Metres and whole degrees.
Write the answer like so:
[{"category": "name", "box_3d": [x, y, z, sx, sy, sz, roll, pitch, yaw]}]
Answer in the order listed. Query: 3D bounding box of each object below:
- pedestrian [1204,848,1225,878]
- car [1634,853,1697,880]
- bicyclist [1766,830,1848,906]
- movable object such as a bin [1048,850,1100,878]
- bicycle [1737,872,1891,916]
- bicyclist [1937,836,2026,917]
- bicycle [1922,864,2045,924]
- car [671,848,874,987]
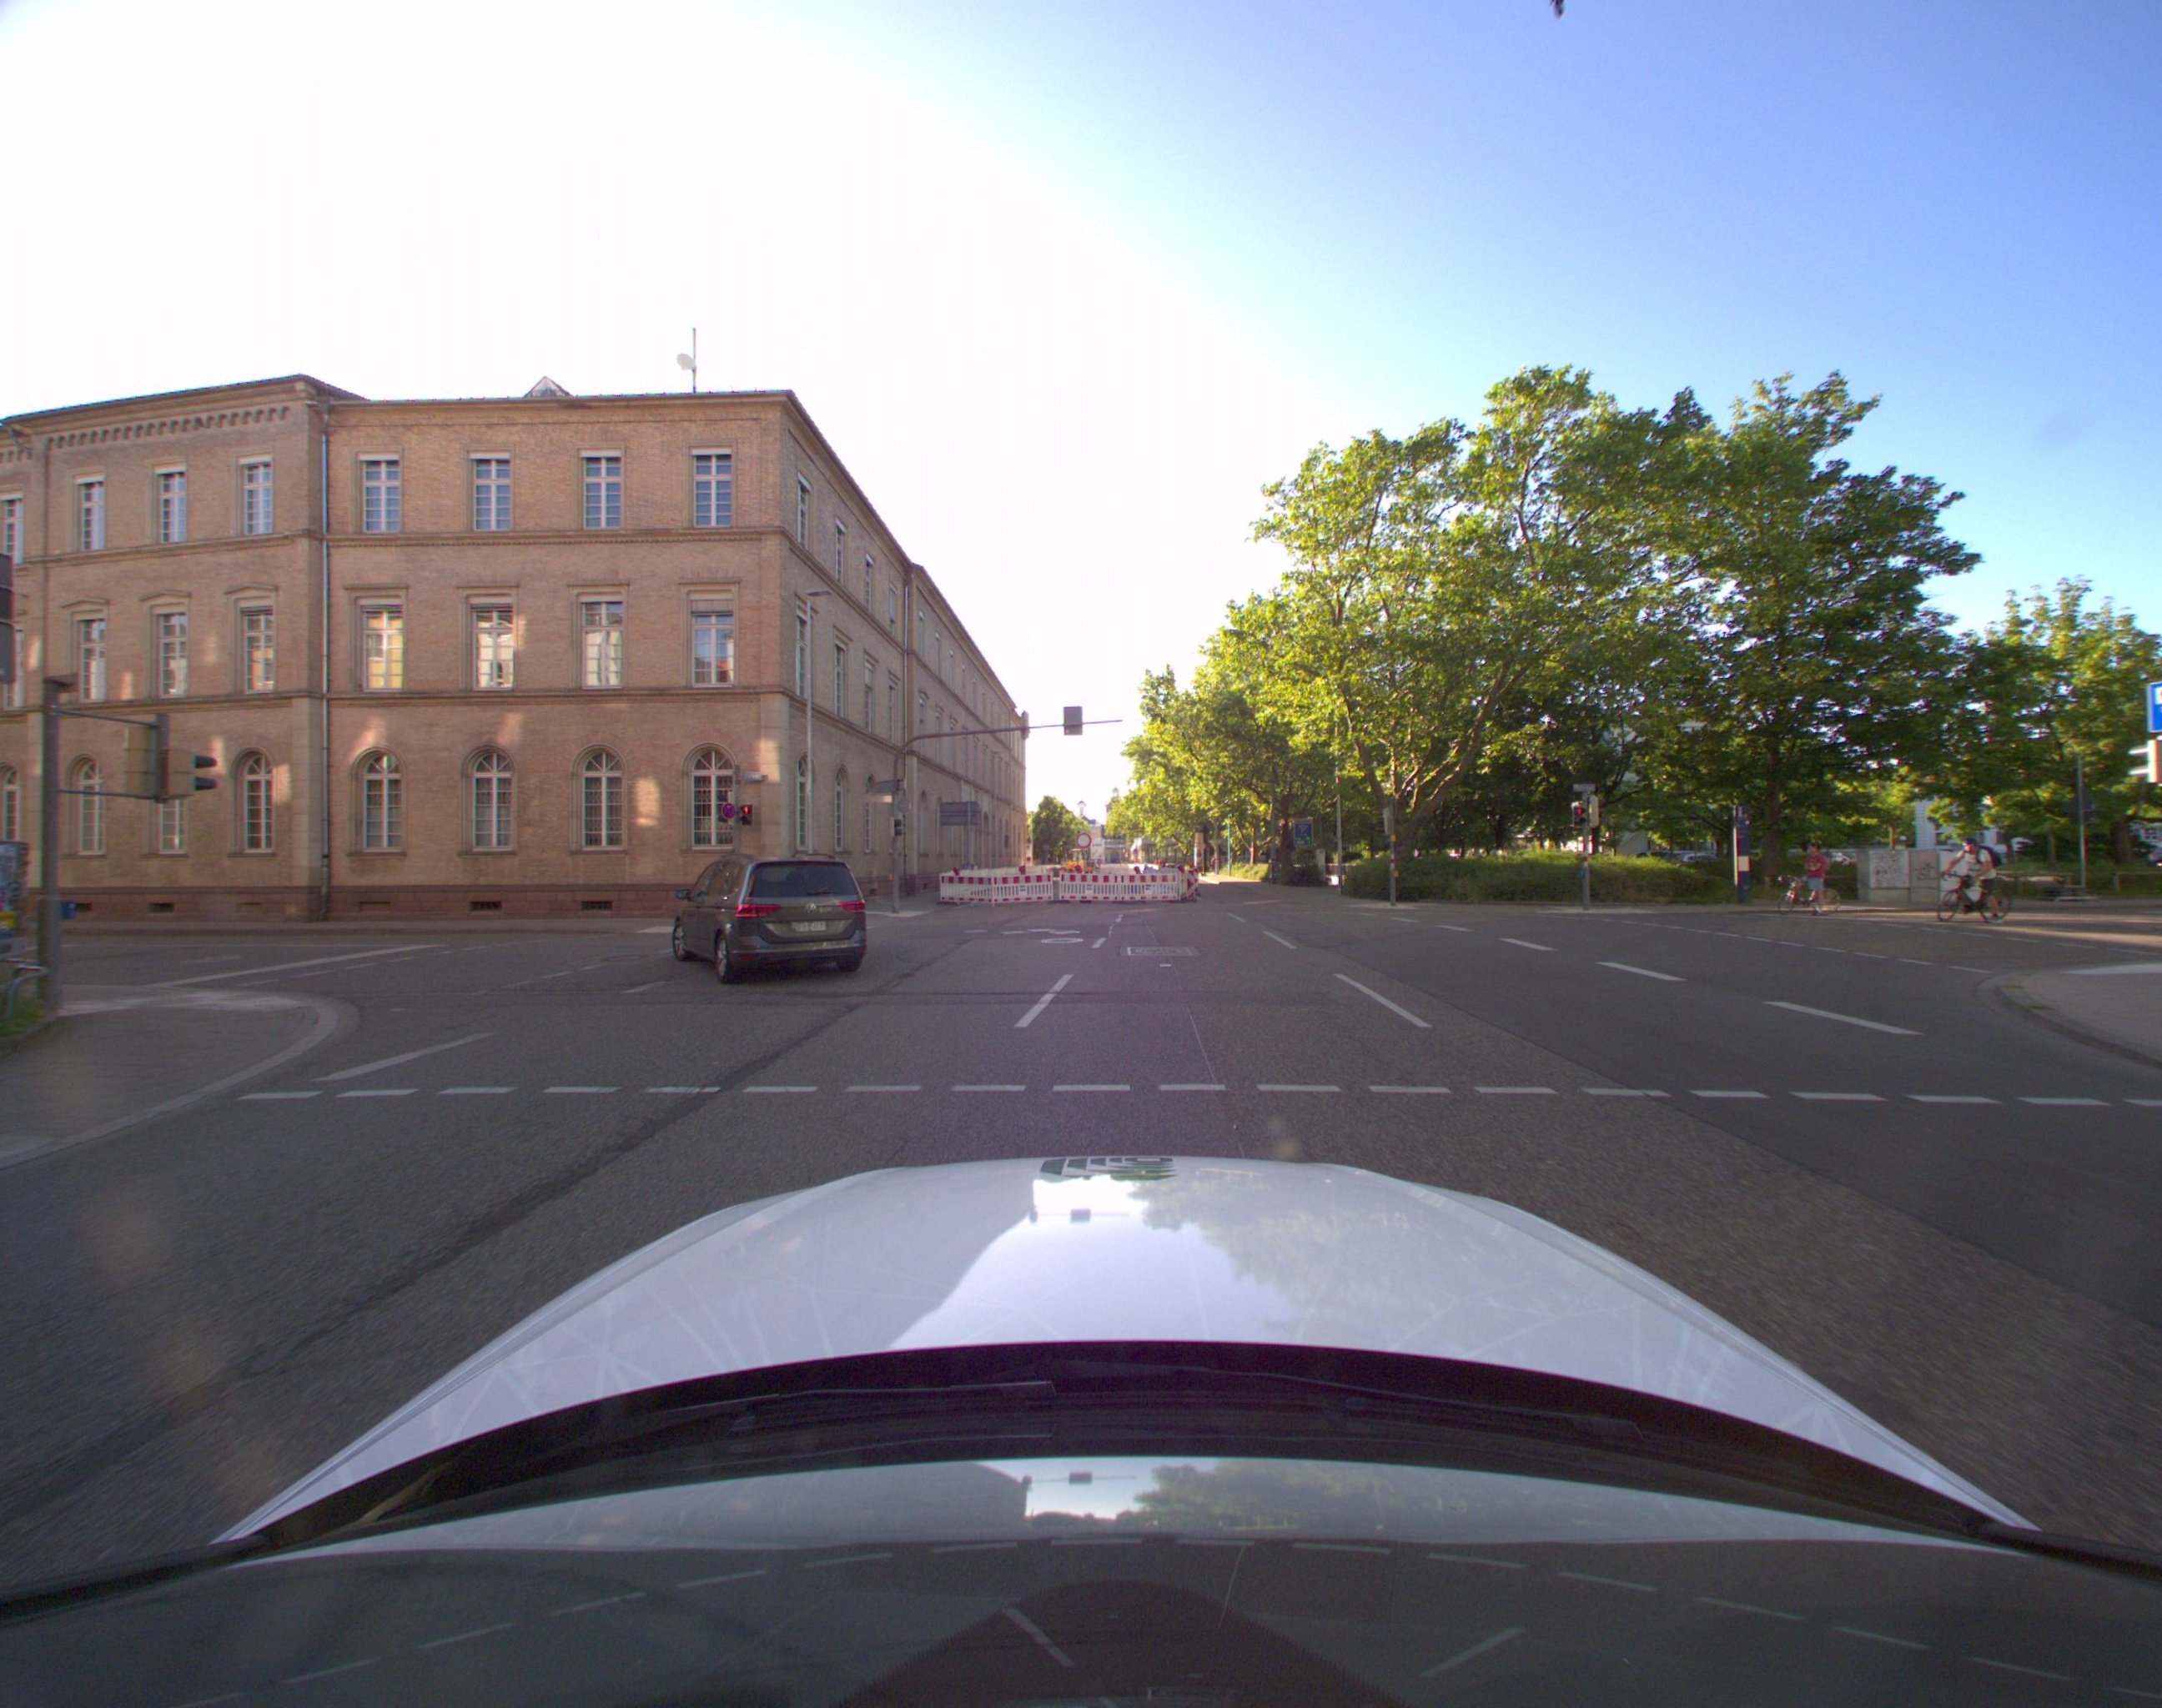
[{"category": "pedestrian", "box_3d": [11.714, 0.790, 71.292, 1.405, 2.667, 1.155, -1, -1, 35]}, {"category": "car", "box_3d": [40.364, 0.845, 56.356, 1.981, 1.779, 4.010, -1, -1, 9]}, {"category": "bicyclist", "box_3d": [17.826, 0.339, 20.028, 1.124, 1.808, 0.978, 0, -1, 0]}, {"category": "movable object such as a bin", "box_3d": [-0.726, 1.021, 81.941, 4.782, 2.777, 2.488, -1, -1, 45]}, {"category": "bicycle", "box_3d": [17.997, 0.971, 20.038, 2.987, 1.038, 0.942, 0, -1, -2]}, {"category": "bicyclist", "box_3d": [18.114, 0.436, 16.424, 0.941, 1.545, 1.133, -1, 1, 34]}, {"category": "bicycle", "box_3d": [18.157, 0.780, 16.482, 0.969, 1.052, 2.677, -3, -1, 33]}, {"category": "car", "box_3d": [-4.526, 0.745, 11.583, 1.775, 1.607, 3.957, 0, 0, -35]}]
